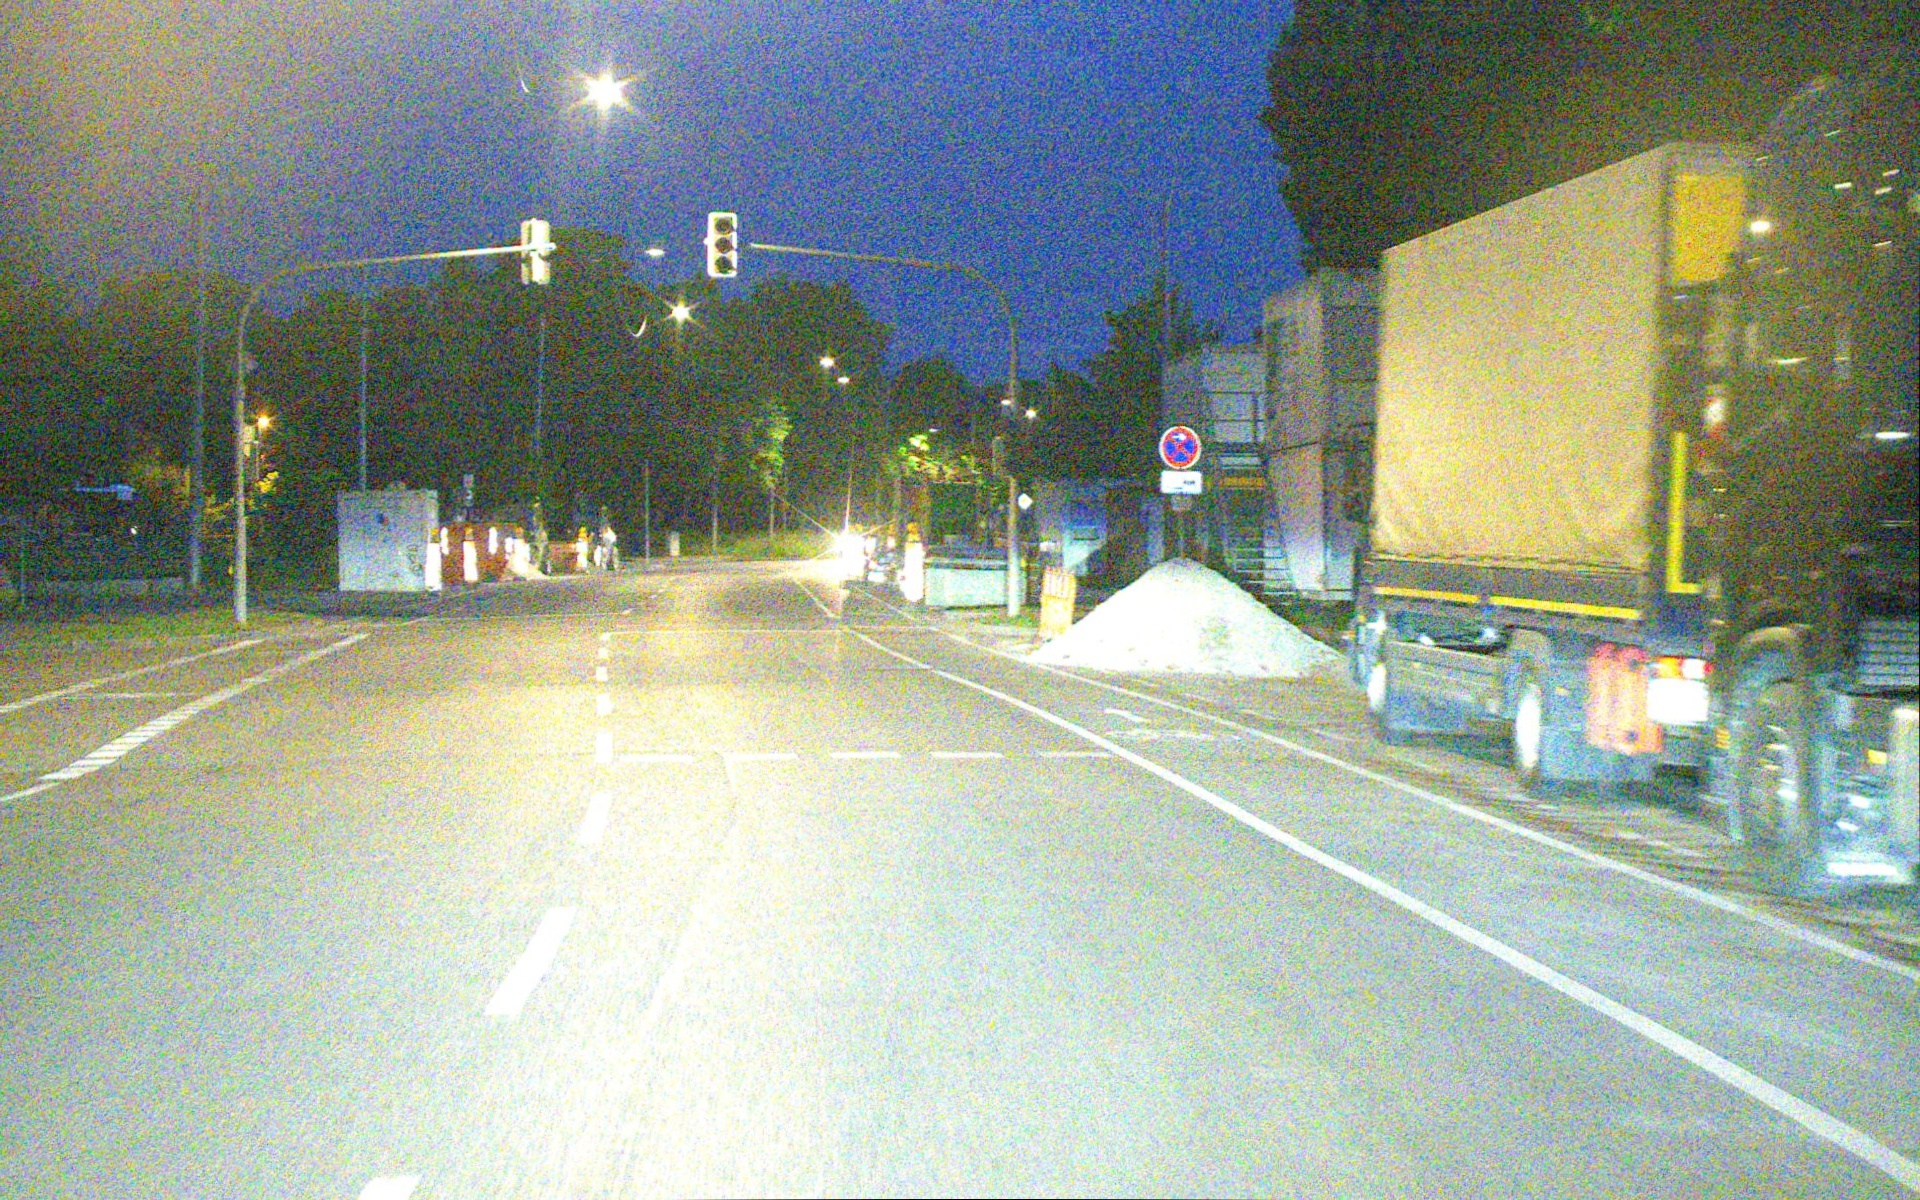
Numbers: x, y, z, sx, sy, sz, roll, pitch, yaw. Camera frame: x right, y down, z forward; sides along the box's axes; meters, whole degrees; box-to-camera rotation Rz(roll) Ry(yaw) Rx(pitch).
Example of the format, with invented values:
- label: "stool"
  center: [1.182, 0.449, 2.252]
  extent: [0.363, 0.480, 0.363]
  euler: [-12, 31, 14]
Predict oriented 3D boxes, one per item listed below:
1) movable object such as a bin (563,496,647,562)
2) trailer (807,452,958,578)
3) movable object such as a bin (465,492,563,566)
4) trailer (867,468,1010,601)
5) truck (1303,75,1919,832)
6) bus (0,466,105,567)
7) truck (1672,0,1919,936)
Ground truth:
- label: "movable object such as a bin"
  center: [-13.094, -2.637, 127.098]
  extent: [1.994, 2.368, 4.700]
  euler: [0, 1, 8]
- label: "trailer"
  center: [-2.127, -2.240, 92.440]
  extent: [3.480, 3.208, 4.866]
  euler: [1, 0, -7]
- label: "movable object such as a bin"
  center: [-14.800, -2.396, 114.381]
  extent: [1.994, 2.368, 4.701]
  euler: [0, 2, 8]
- label: "trailer"
  center: [-0.522, -1.458, 77.676]
  extent: [2.613, 2.836, 4.710]
  euler: [1, 0, -7]
- label: "truck"
  center: [4.478, -0.816, 22.320]
  extent: [2.755, 3.770, 10.227]
  euler: [0, 1, -4]
- label: "bus"
  center: [-31.655, -2.673, 109.493]
  extent: [3.014, 3.193, 12.665]
  euler: [0, 2, 14]
- label: "truck"
  center: [5.149, -0.573, 12.330]
  extent: [2.755, 3.770, 9.139]
  euler: [0, 1, -4]
